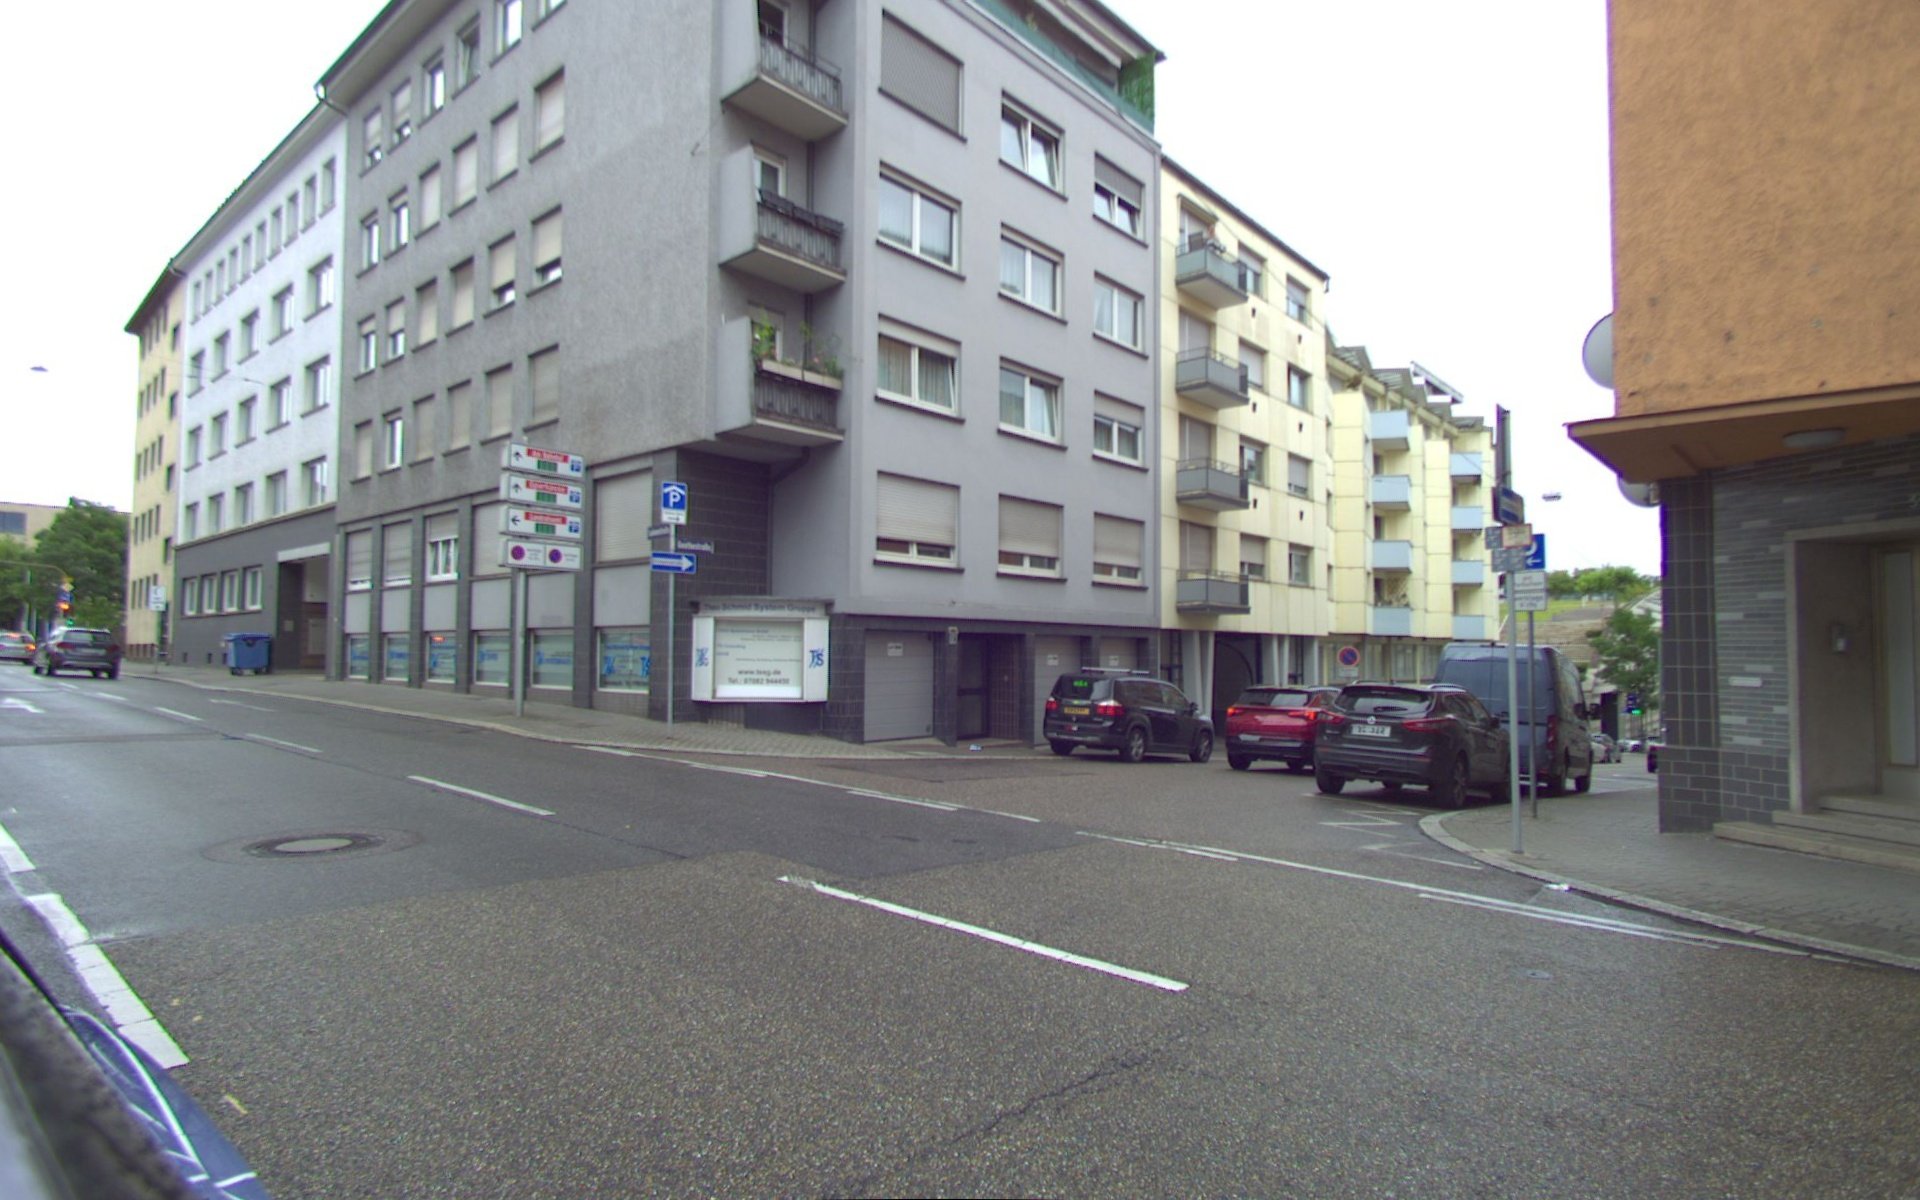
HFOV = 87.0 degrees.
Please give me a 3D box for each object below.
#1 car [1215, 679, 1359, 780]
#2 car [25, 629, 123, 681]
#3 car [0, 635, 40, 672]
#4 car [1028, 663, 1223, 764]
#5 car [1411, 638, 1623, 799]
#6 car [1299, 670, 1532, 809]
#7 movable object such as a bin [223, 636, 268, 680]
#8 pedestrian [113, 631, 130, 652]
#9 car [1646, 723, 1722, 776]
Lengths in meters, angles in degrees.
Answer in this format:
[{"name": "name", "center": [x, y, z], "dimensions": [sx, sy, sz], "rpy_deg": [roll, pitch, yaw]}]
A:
[{"name": "car", "center": [6.251, 2.315, 19.018], "dimensions": [1.795, 1.596, 4.273], "rpy_deg": [0, -4, 29]}, {"name": "car", "center": [-28.180, 1.722, 32.147], "dimensions": [4.157, 1.519, 1.685], "rpy_deg": [-1, -5, 41]}, {"name": "car", "center": [-43.985, 2.448, 46.601], "dimensions": [4.371, 1.602, 1.858], "rpy_deg": [-1, -3, 41]}, {"name": "car", "center": [3.350, 2.269, 19.902], "dimensions": [1.794, 1.700, 4.186], "rpy_deg": [-1, -8, 41]}, {"name": "car", "center": [10.531, 2.211, 18.835], "dimensions": [2.249, 2.480, 5.975], "rpy_deg": [-1, -7, 41]}, {"name": "car", "center": [6.464, 1.941, 14.110], "dimensions": [1.842, 1.589, 4.098], "rpy_deg": [-1, -8, 41]}, {"name": "movable object such as a bin", "center": [-22.864, 1.837, 32.384], "dimensions": [1.096, 1.343, 0.933], "rpy_deg": [-1, 0, 41]}, {"name": "pedestrian", "center": [-46.298, 2.290, 55.878], "dimensions": [0.407, 1.158, 0.575], "rpy_deg": [-2, -6, 42]}, {"name": "car", "center": [25.944, 5.359, 36.222], "dimensions": [1.817, 1.688, 3.998], "rpy_deg": [-1, -8, 41]}]
